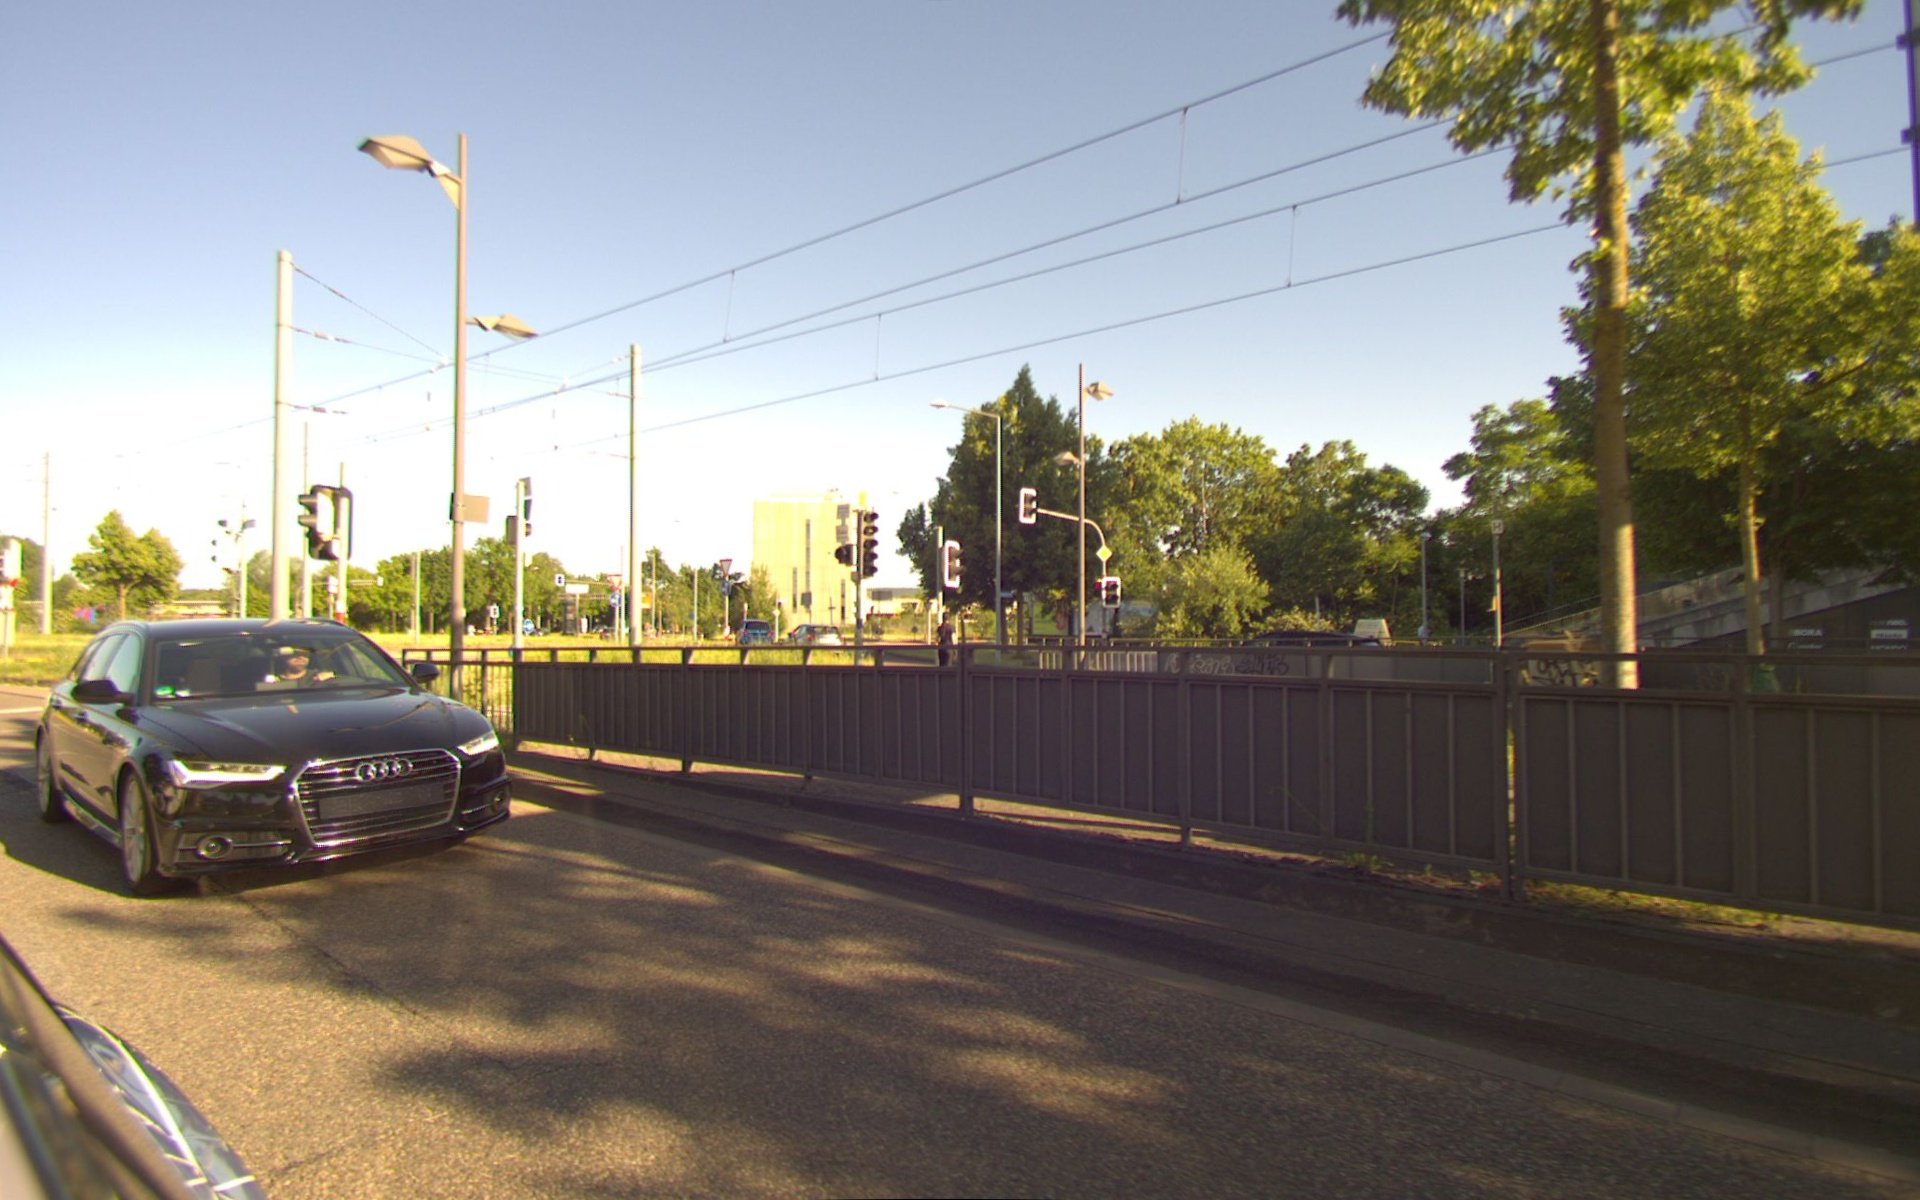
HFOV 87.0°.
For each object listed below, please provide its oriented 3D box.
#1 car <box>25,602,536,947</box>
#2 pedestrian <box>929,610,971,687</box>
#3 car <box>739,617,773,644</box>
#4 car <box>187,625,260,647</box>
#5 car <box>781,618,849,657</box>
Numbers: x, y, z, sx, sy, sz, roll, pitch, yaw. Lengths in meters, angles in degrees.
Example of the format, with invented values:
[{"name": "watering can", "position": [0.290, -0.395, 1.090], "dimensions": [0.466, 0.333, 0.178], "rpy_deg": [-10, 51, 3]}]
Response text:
[{"name": "car", "position": [-4.744, 0.820, 6.732], "dimensions": [4.600, 1.538, 1.765], "rpy_deg": [-1, -1, 42]}, {"name": "pedestrian", "position": [-0.214, 1.009, 21.500], "dimensions": [0.810, 1.590, 0.413], "rpy_deg": [0, 0, 39]}, {"name": "car", "position": [-10.398, 1.536, 51.604], "dimensions": [1.637, 1.274, 3.630], "rpy_deg": [1, 0, -12]}, {"name": "car", "position": [-53.810, 2.594, 73.982], "dimensions": [1.798, 1.439, 3.964], "rpy_deg": [1, 0, 34]}, {"name": "car", "position": [-5.808, 1.471, 40.220], "dimensions": [1.636, 1.406, 3.624], "rpy_deg": [4, -3, -24]}]
